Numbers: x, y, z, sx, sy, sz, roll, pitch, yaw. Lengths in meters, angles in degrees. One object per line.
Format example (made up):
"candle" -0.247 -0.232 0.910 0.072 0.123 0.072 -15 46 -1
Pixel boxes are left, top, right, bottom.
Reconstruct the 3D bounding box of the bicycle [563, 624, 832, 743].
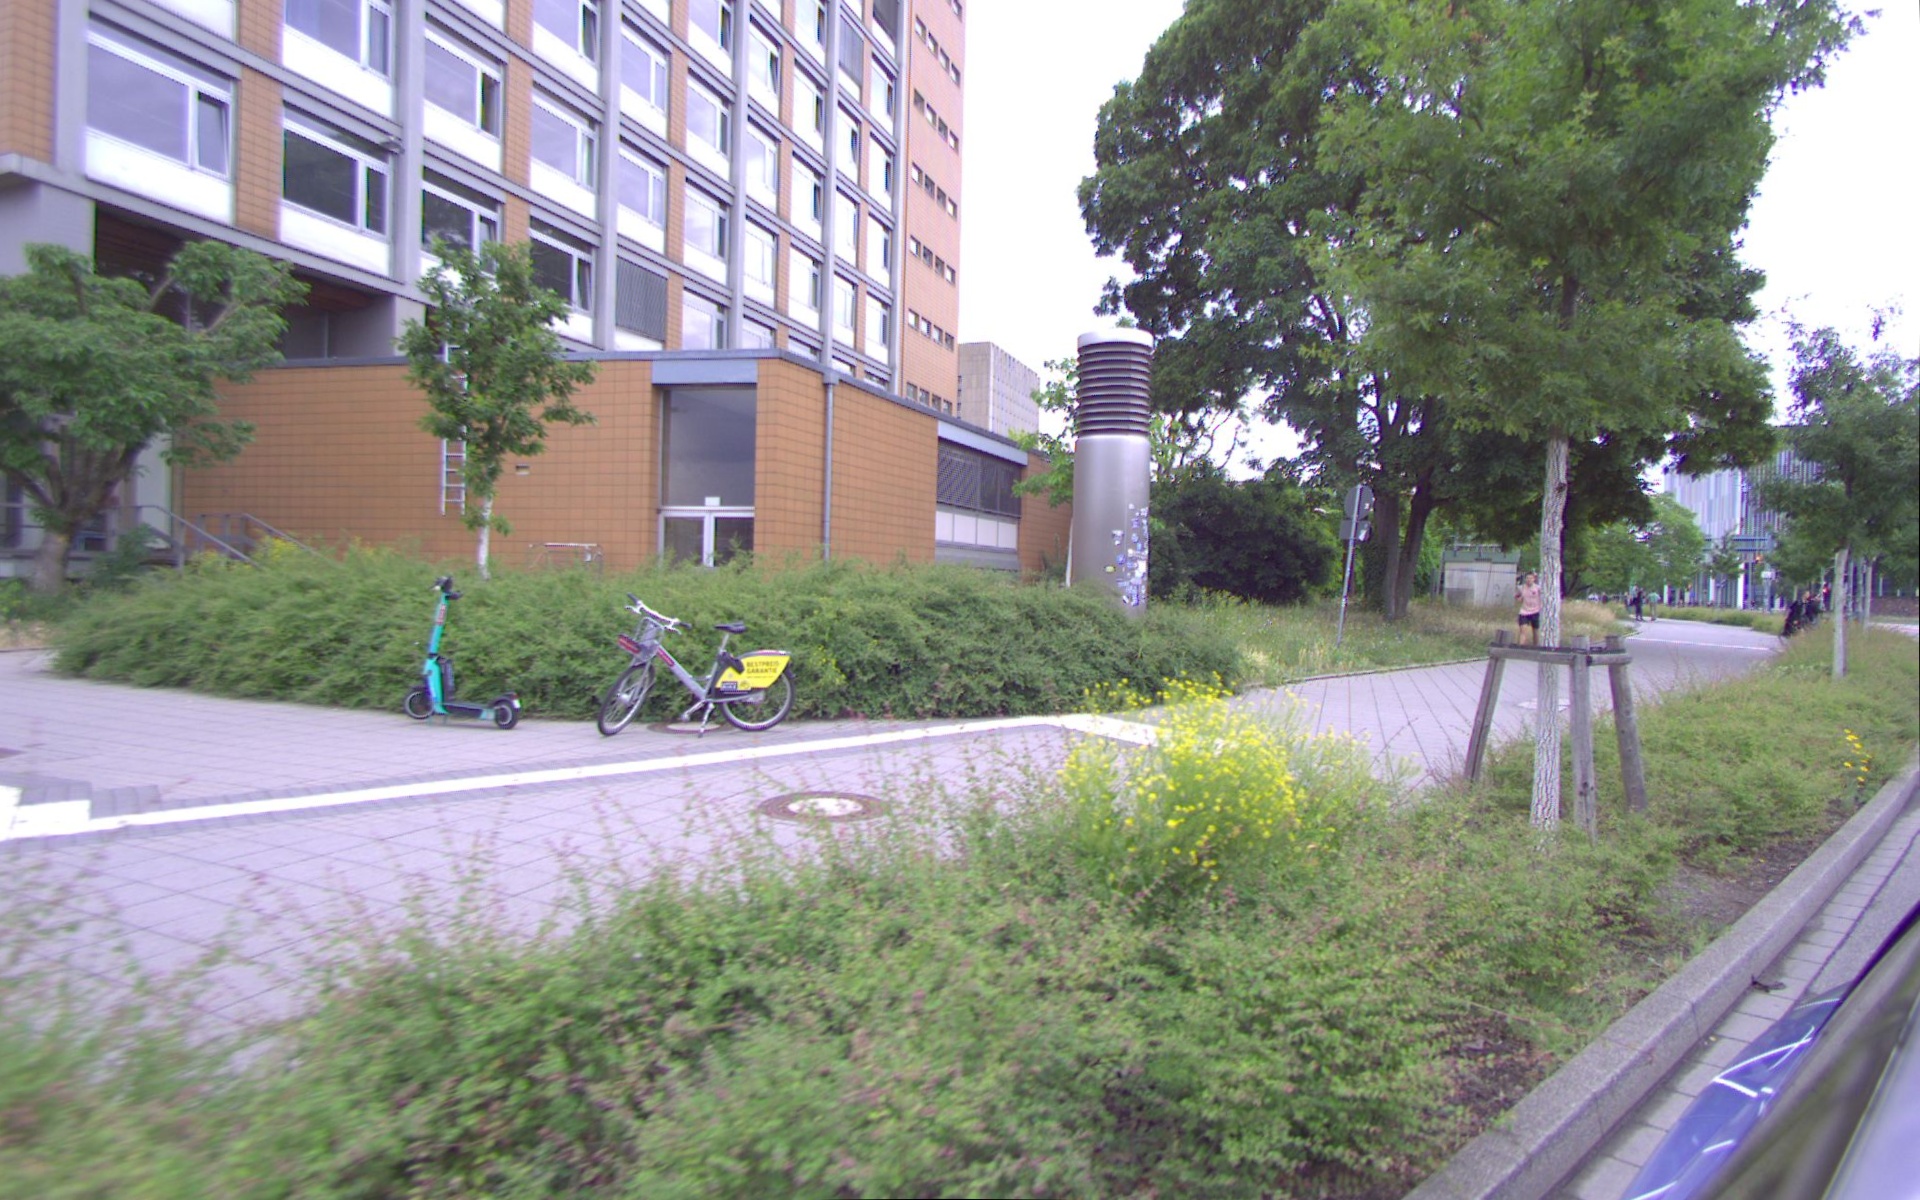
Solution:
"bicycle" -2.102 0.638 8.182 2.030 0.859 0.559 1 1 -23

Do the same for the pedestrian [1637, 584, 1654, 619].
"pedestrian" 37.300 0.083 55.057 0.592 1.822 0.514 4 3 29

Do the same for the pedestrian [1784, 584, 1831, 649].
"pedestrian" 24.689 0.463 29.478 0.709 1.822 0.597 3 3 5

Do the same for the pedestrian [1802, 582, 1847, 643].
"pedestrian" 26.971 0.386 31.583 0.709 1.822 0.597 3 3 5

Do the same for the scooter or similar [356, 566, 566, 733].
"scooter or similar" -4.195 0.382 8.510 1.585 1.306 0.690 0 0 21

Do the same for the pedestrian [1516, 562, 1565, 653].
"pedestrian" 12.006 0.149 20.932 0.587 1.822 0.630 1 3 -42
